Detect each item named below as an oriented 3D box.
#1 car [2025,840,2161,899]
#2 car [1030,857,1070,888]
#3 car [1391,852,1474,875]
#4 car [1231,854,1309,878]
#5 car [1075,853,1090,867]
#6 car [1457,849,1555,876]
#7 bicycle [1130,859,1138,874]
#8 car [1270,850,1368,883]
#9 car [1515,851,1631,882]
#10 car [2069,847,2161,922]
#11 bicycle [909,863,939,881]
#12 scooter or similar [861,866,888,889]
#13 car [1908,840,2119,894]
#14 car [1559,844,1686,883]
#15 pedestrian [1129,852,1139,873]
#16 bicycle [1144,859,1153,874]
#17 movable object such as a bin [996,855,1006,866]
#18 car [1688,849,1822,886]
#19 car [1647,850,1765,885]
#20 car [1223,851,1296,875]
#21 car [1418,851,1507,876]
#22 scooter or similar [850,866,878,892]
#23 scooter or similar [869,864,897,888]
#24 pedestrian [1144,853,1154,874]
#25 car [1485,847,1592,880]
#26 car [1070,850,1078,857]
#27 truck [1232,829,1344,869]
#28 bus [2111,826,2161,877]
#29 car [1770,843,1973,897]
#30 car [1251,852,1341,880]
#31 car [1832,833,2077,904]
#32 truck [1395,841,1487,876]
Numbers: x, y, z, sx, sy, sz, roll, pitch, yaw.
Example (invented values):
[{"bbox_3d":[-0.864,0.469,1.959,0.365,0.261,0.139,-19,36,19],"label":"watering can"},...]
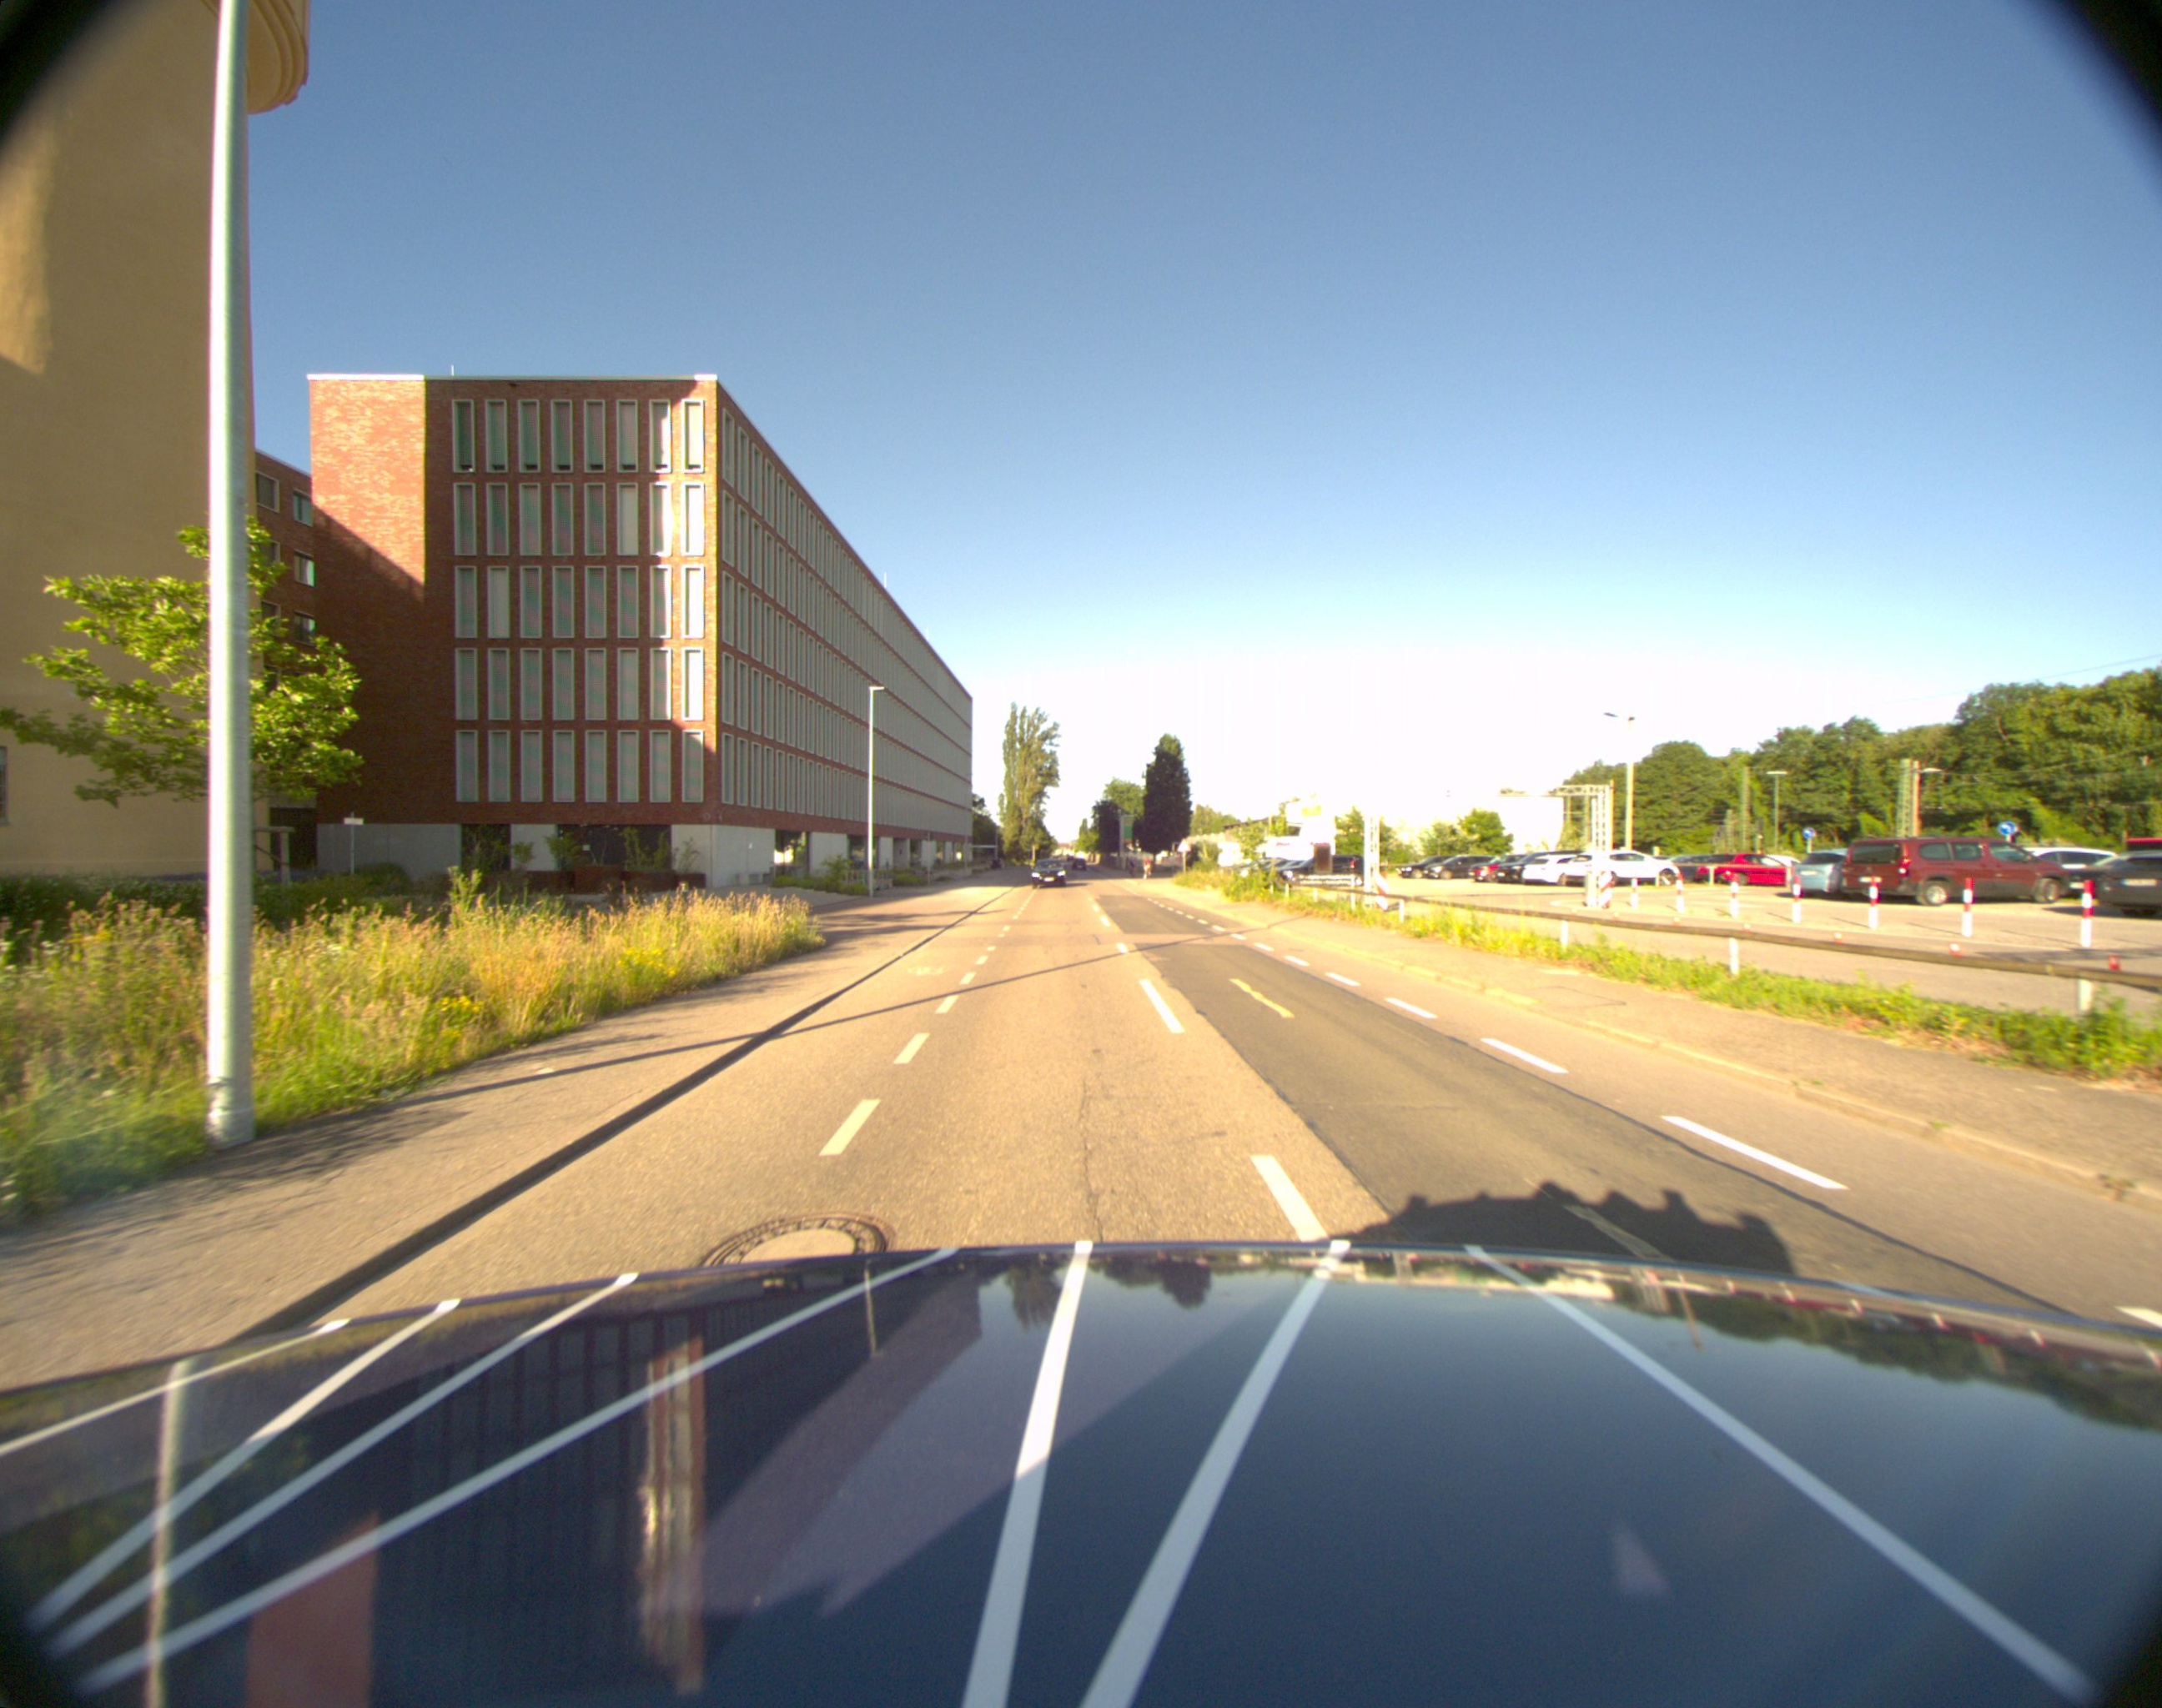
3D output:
[{"bbox_3d":[28.536,0.393,20.462,3.998,1.499,1.936,-1,0,-3],"label":"car"},{"bbox_3d":[-1.781,1.042,45.217,1.998,1.608,4.000,-3,1,2],"label":"car"},{"bbox_3d":[22.543,0.598,48.809,4.415,1.457,2.047,0,0,-5],"label":"car"},{"bbox_3d":[11.916,0.731,48.119,4.440,1.453,2.048,0,0,0],"label":"car"},{"bbox_3d":[0.167,0.703,91.582,1.658,1.495,3.999,1,1,-1],"label":"car"},{"bbox_3d":[22.800,0.464,40.856,4.173,1.389,2.047,0,0,-5],"label":"car"},{"bbox_3d":[4.430,1.026,63.375,0.447,1.142,2.200,-2,1,-1],"label":"bicycle"},{"bbox_3d":[12.239,0.619,39.320,4.440,1.660,2.048,0,0,0],"label":"car"},{"bbox_3d":[22.841,0.558,35.371,4.173,1.389,2.047,0,0,-5],"label":"car"},{"bbox_3d":[23.870,0.581,15.549,4.587,1.472,1.991,-1,0,2],"label":"car"},{"bbox_3d":[-10.501,1.186,50.924,1.938,1.163,0.375,1,1,-7],"label":"bicycle"},{"bbox_3d":[-10.233,1.156,37.611,1.246,1.149,0.366,0,1,3],"label":"scooter or similar"},{"bbox_3d":[29.088,0.396,23.797,4.378,1.536,1.857,-1,0,-1],"label":"car"},{"bbox_3d":[23.360,0.391,32.888,4.172,1.652,1.965,0,0,-4],"label":"car"},{"bbox_3d":[4.450,0.695,63.365,0.723,1.711,1.057,0,1,-1],"label":"pedestrian"},{"bbox_3d":[5.559,1.023,62.764,0.471,1.142,1.869,-2,1,-1],"label":"bicycle"},{"bbox_3d":[-9.615,0.800,91.739,1.131,1.328,1.345,0,1,-2],"label":"movable object such as a bin"},{"bbox_3d":[28.980,0.572,32.743,4.172,1.521,1.965,0,0,-4],"label":"car"},{"bbox_3d":[28.785,0.598,35.085,3.998,1.540,1.913,-1,0,-4],"label":"car"},{"bbox_3d":[11.870,0.575,50.768,4.440,1.571,2.048,0,0,0],"label":"car"},{"bbox_3d":[23.117,0.586,46.091,4.415,1.457,2.047,0,0,-5],"label":"car"},{"bbox_3d":[-10.299,1.184,36.089,1.246,1.188,0.340,0,1,3],"label":"scooter or similar"},{"bbox_3d":[-10.227,1.127,39.203,1.343,1.238,0.424,0,1,3],"label":"scooter or similar"},{"bbox_3d":[5.611,0.750,62.752,0.723,1.711,1.057,0,1,-1],"label":"pedestrian"},{"bbox_3d":[22.692,0.444,37.810,4.173,1.569,2.047,0,0,-5],"label":"car"},{"bbox_3d":[-1.654,-0.050,175.716,1.745,1.517,4.110,3,0,-2],"label":"car"},{"bbox_3d":[19.890,-0.510,73.326,10.126,3.594,2.774,-1,1,-2],"label":"truck"},{"bbox_3d":[51.634,-0.111,34.056,2.545,2.334,6.204,0,0,0],"label":"bus"},{"bbox_3d":[24.291,0.474,23.465,4.378,1.536,1.857,-1,0,-1],"label":"car"},{"bbox_3d":[11.898,0.647,42.286,4.440,1.453,2.048,0,0,0],"label":"car"},{"bbox_3d":[23.738,0.383,20.771,4.588,1.794,1.857,-1,0,-1],"label":"car"},{"bbox_3d":[29.460,0.365,62.290,6.513,2.791,2.315,0,1,-3],"label":"truck"}]
